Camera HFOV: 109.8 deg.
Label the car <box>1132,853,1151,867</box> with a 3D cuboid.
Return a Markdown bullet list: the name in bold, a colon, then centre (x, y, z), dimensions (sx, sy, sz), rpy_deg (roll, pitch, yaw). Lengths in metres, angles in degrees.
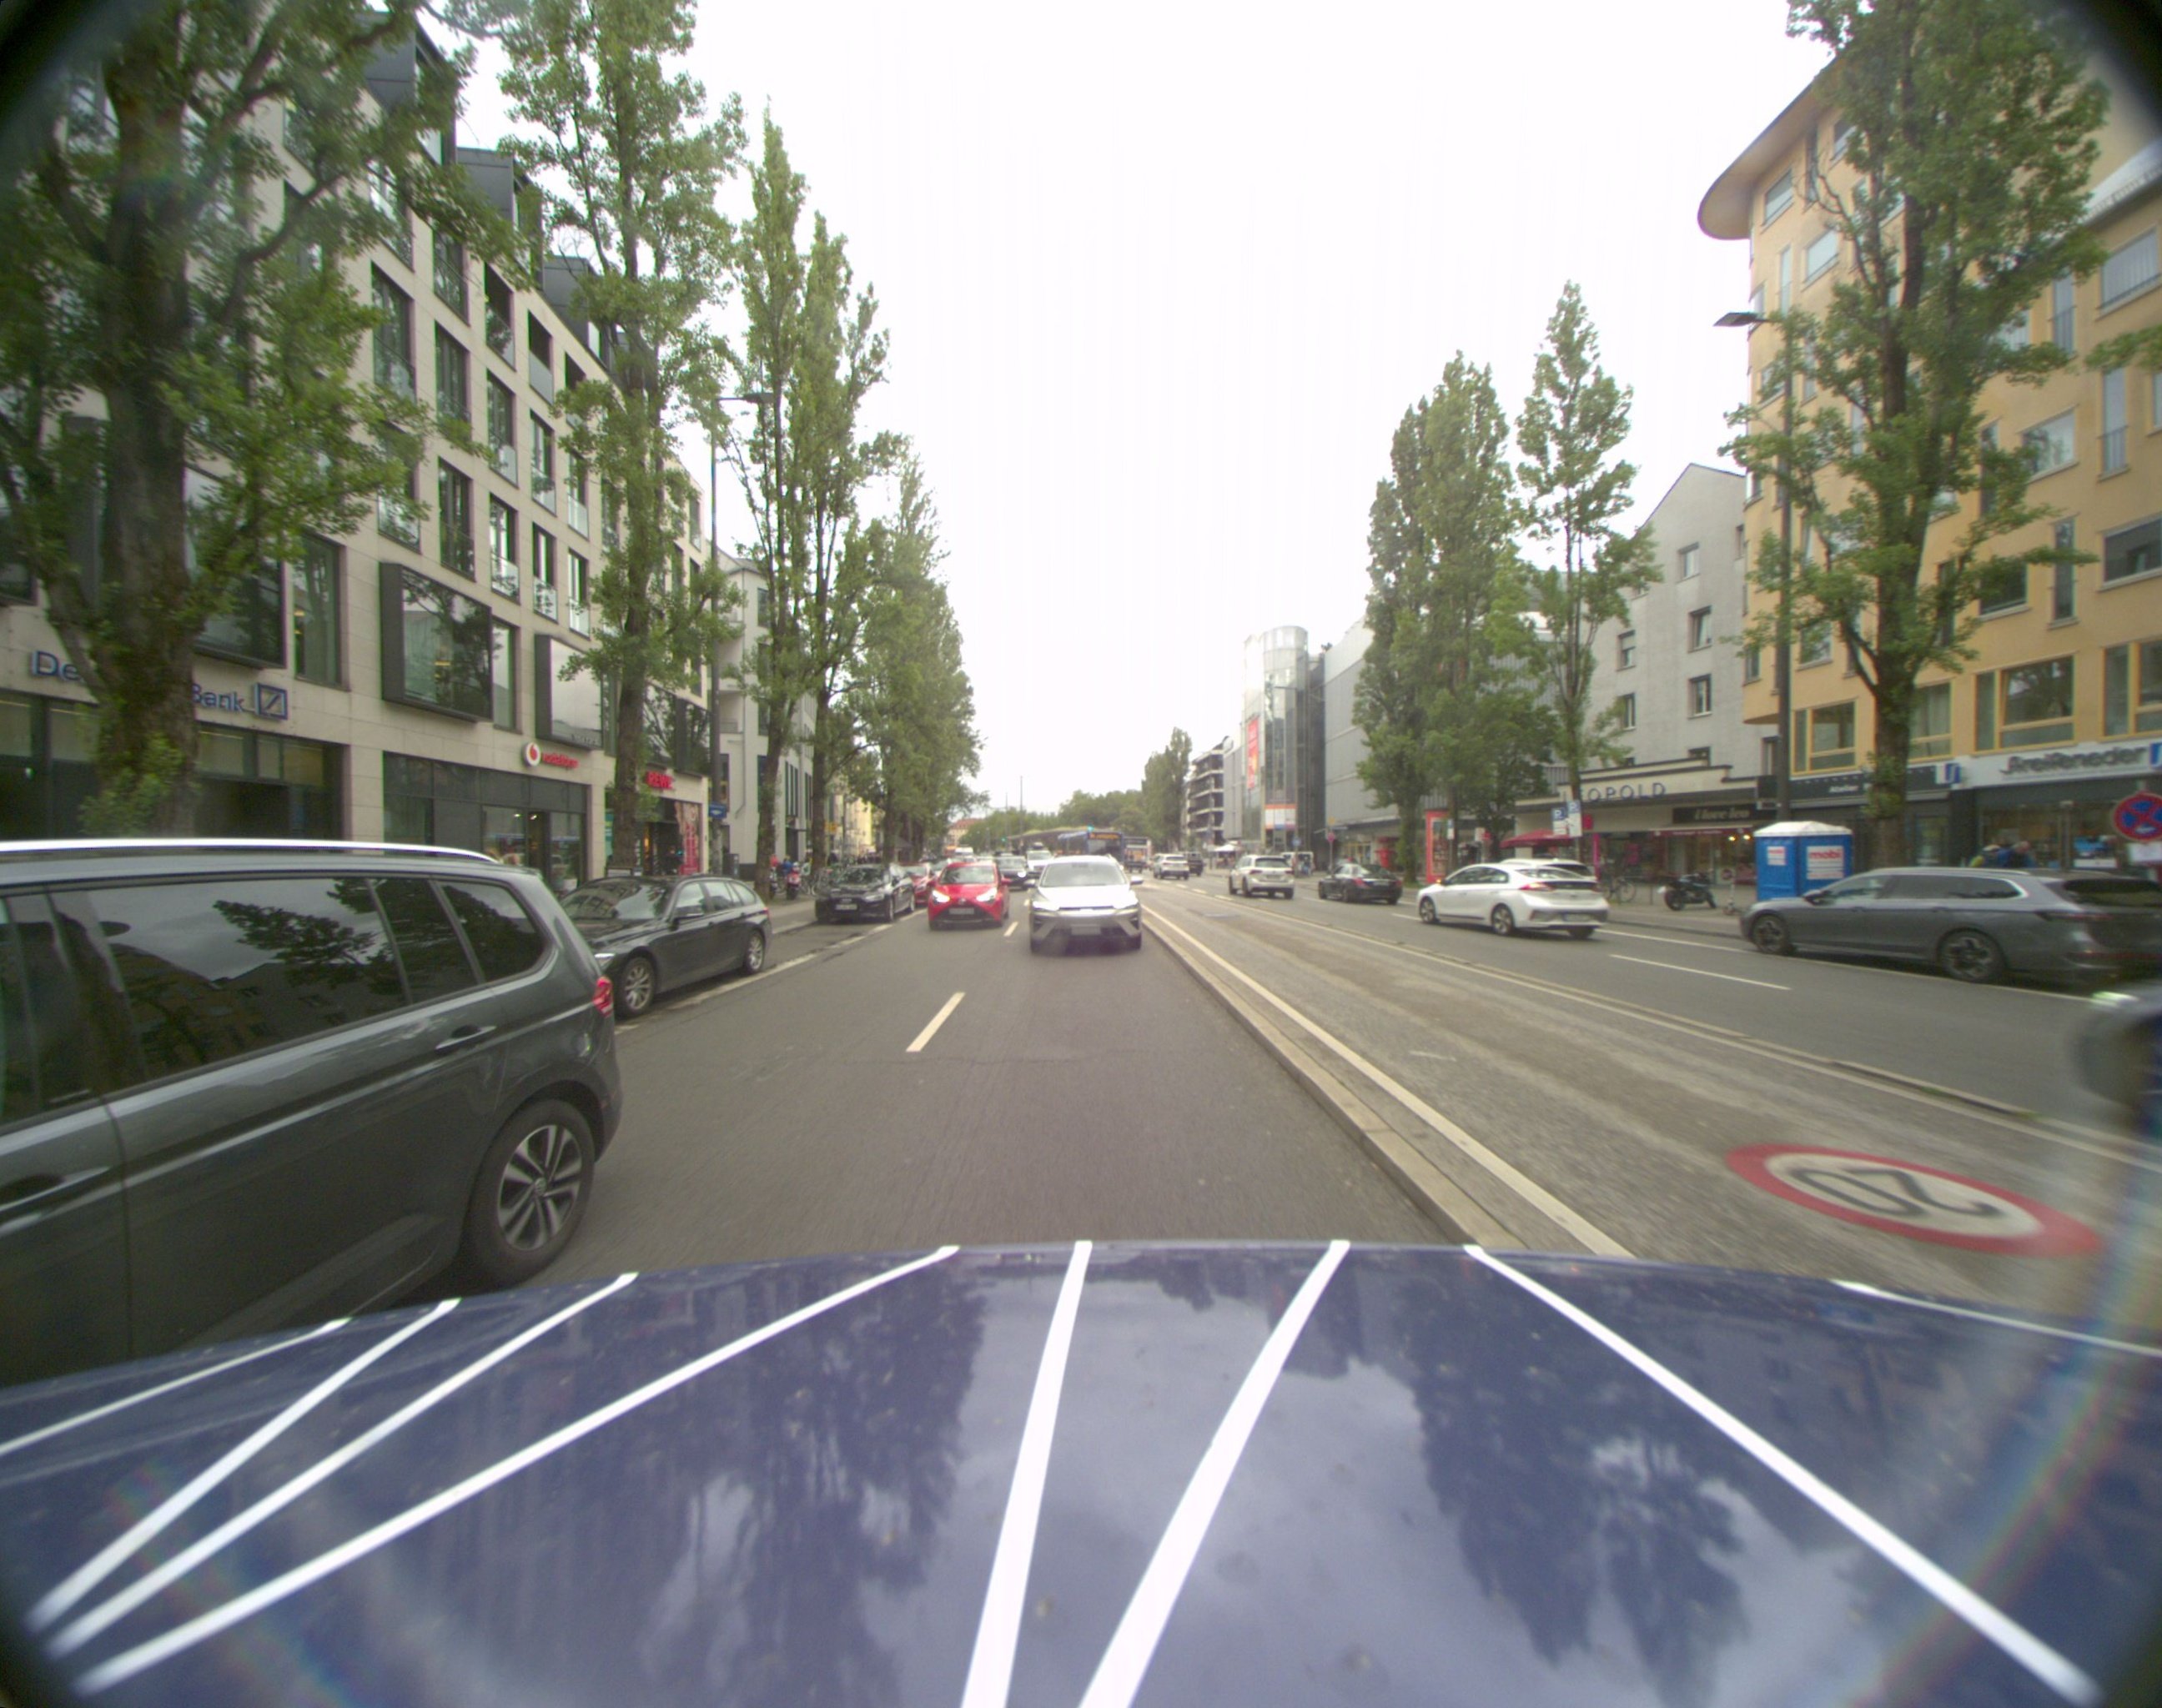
- **car**: centre (7.374, 0.700, 93.346), dimensions (1.890, 1.688, 4.382), rpy_deg (1, 0, -1)

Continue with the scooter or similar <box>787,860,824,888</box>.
- **scooter or similar**: centre (-11.830, 0.862, 32.663), dimensions (1.388, 1.204, 0.553), rpy_deg (0, 1, -1)

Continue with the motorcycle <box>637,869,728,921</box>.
- **motorcycle**: centre (-10.112, 1.016, 19.321), dimensions (1.978, 1.244, 0.638), rpy_deg (0, 1, -35)

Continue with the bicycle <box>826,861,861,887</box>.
- **bicycle**: centre (-11.015, 0.932, 35.249), dimensions (1.483, 1.200, 0.535), rpy_deg (0, 1, -7)

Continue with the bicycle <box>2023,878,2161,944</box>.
- **bicycle**: centre (16.981, 0.938, 12.695), dimensions (2.014, 1.035, 0.622), rpy_deg (0, 1, -9)

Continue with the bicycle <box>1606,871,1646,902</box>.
- **bicycle**: centre (18.230, 1.064, 25.443), dimensions (0.293, 0.970, 1.479), rpy_deg (0, 0, 2)

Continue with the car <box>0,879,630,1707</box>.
- **car**: centre (-2.919, 0.945, 1.237), dimensions (1.765, 1.604, 4.183), rpy_deg (-1, 1, 1)

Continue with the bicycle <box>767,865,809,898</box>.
- **bicycle**: centre (-11.087, 1.014, 28.772), dimensions (0.546, 1.182, 1.457), rpy_deg (1, 1, 30)

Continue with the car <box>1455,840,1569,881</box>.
- **car**: centre (28.027, 0.428, 49.602), dimensions (6.056, 2.590, 2.178), rpy_deg (0, 1, 5)

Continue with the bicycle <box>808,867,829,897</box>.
- **bicycle**: centre (-9.908, 1.039, 28.714), dimensions (0.644, 1.057, 1.769), rpy_deg (0, 0, -16)

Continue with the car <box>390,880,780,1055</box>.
- **car**: centre (-5.313, 1.098, 9.011), dimensions (1.738, 1.386, 4.432), rpy_deg (0, 0, 0)

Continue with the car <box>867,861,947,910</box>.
- **car**: centre (-5.733, 0.975, 25.607), dimensions (1.936, 1.441, 4.802), rpy_deg (0, 0, -4)

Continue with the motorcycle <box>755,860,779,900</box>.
- **motorcycle**: centre (-11.194, 0.898, 27.085), dimensions (0.689, 1.348, 1.640), rpy_deg (0, 1, -26)

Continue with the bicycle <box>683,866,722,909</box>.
- **bicycle**: centre (-11.096, 0.954, 22.325), dimensions (0.456, 1.181, 1.714), rpy_deg (0, 0, -6)

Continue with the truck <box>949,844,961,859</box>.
- **truck**: centre (-29.991, -0.544, 180.568), dimensions (2.543, 3.468, 7.743), rpy_deg (0, 0, -11)

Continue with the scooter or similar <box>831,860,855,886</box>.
- **scooter or similar**: centre (-11.249, 0.876, 35.912), dimensions (1.053, 1.219, 0.379), rpy_deg (0, 1, -7)

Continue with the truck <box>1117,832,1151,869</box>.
- **truck**: centre (4.836, -0.317, 70.653), dimensions (2.297, 3.303, 7.154), rpy_deg (1, 0, -3)

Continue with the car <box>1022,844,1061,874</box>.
- **car**: centre (-2.716, 0.277, 51.534), dimensions (2.000, 1.889, 4.230), rpy_deg (-2, 1, -11)

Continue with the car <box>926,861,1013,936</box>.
- **car**: centre (-2.521, 0.969, 17.897), dimensions (1.670, 1.438, 3.594), rpy_deg (-2, 1, -3)

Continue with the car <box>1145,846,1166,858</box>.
- **car**: centre (10.307, -0.279, 105.177), dimensions (1.913, 1.558, 3.996), rpy_deg (0, 0, -11)

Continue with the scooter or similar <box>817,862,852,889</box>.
- **scooter or similar**: centre (-10.917, 0.945, 33.642), dimensions (1.439, 1.194, 0.311), rpy_deg (0, 1, -8)

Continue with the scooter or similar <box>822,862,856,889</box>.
- **scooter or similar**: centre (-10.796, 0.936, 33.910), dimensions (1.439, 1.194, 0.311), rpy_deg (0, 1, -8)

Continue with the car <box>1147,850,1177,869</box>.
- **car**: centre (8.766, 0.532, 82.701), dimensions (2.000, 2.002, 5.317), rpy_deg (1, 0, -9)

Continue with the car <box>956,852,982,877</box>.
- **car**: centre (-7.912, 0.697, 53.796), dimensions (1.732, 1.676, 4.405), rpy_deg (-1, 1, -8)

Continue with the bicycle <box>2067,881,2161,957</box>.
- **bicycle**: centre (16.516, 0.991, 11.459), dimensions (2.128, 1.094, 0.505), rpy_deg (1, 1, 14)

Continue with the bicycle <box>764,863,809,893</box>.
- **bicycle**: centre (-11.824, 0.946, 30.533), dimensions (1.765, 1.165, 0.452), rpy_deg (0, 1, 15)

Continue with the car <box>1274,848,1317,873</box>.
- **car**: centre (18.009, 0.549, 63.966), dimensions (1.999, 2.002, 5.111), rpy_deg (0, 0, -2)

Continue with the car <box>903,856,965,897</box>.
- **car**: centre (-5.925, 0.871, 31.180), dimensions (1.815, 1.491, 4.804), rpy_deg (0, 0, -3)

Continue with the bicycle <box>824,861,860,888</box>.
- **bicycle**: centre (-10.915, 0.939, 34.690), dimensions (1.483, 1.200, 0.535), rpy_deg (0, 1, -7)

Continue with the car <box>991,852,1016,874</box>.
- **car**: centre (-6.797, 0.765, 66.306), dimensions (2.000, 1.740, 3.997), rpy_deg (-2, 1, -7)

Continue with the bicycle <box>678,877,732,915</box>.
- **bicycle**: centre (-10.416, 1.146, 21.104), dimensions (0.434, 0.935, 1.763), rpy_deg (1, 0, 7)

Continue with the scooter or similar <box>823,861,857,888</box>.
- **scooter or similar**: centre (-10.867, 0.937, 34.243), dimensions (1.439, 1.194, 0.311), rpy_deg (0, 1, -8)

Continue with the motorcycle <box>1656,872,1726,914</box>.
- **motorcycle**: centre (17.067, 1.075, 21.253), dimensions (2.064, 1.030, 0.485), rpy_deg (-2, 2, -19)

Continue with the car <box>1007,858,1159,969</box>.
- **car**: centre (-0.145, 0.887, 13.278), dimensions (1.898, 1.483, 3.995), rpy_deg (-2, 1, -11)

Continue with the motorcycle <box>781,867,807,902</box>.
- **motorcycle**: centre (-10.113, 1.047, 26.745), dimensions (0.689, 1.149, 1.640), rpy_deg (0, 1, -26)

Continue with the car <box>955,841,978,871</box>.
- **car**: centre (-11.053, 0.163, 73.152), dimensions (2.000, 2.726, 5.548), rpy_deg (-2, 1, -10)

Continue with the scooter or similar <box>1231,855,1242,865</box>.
- **scooter or similar**: centre (17.265, 0.689, 84.180), dimensions (0.368, 1.133, 1.378), rpy_deg (0, 0, -31)
